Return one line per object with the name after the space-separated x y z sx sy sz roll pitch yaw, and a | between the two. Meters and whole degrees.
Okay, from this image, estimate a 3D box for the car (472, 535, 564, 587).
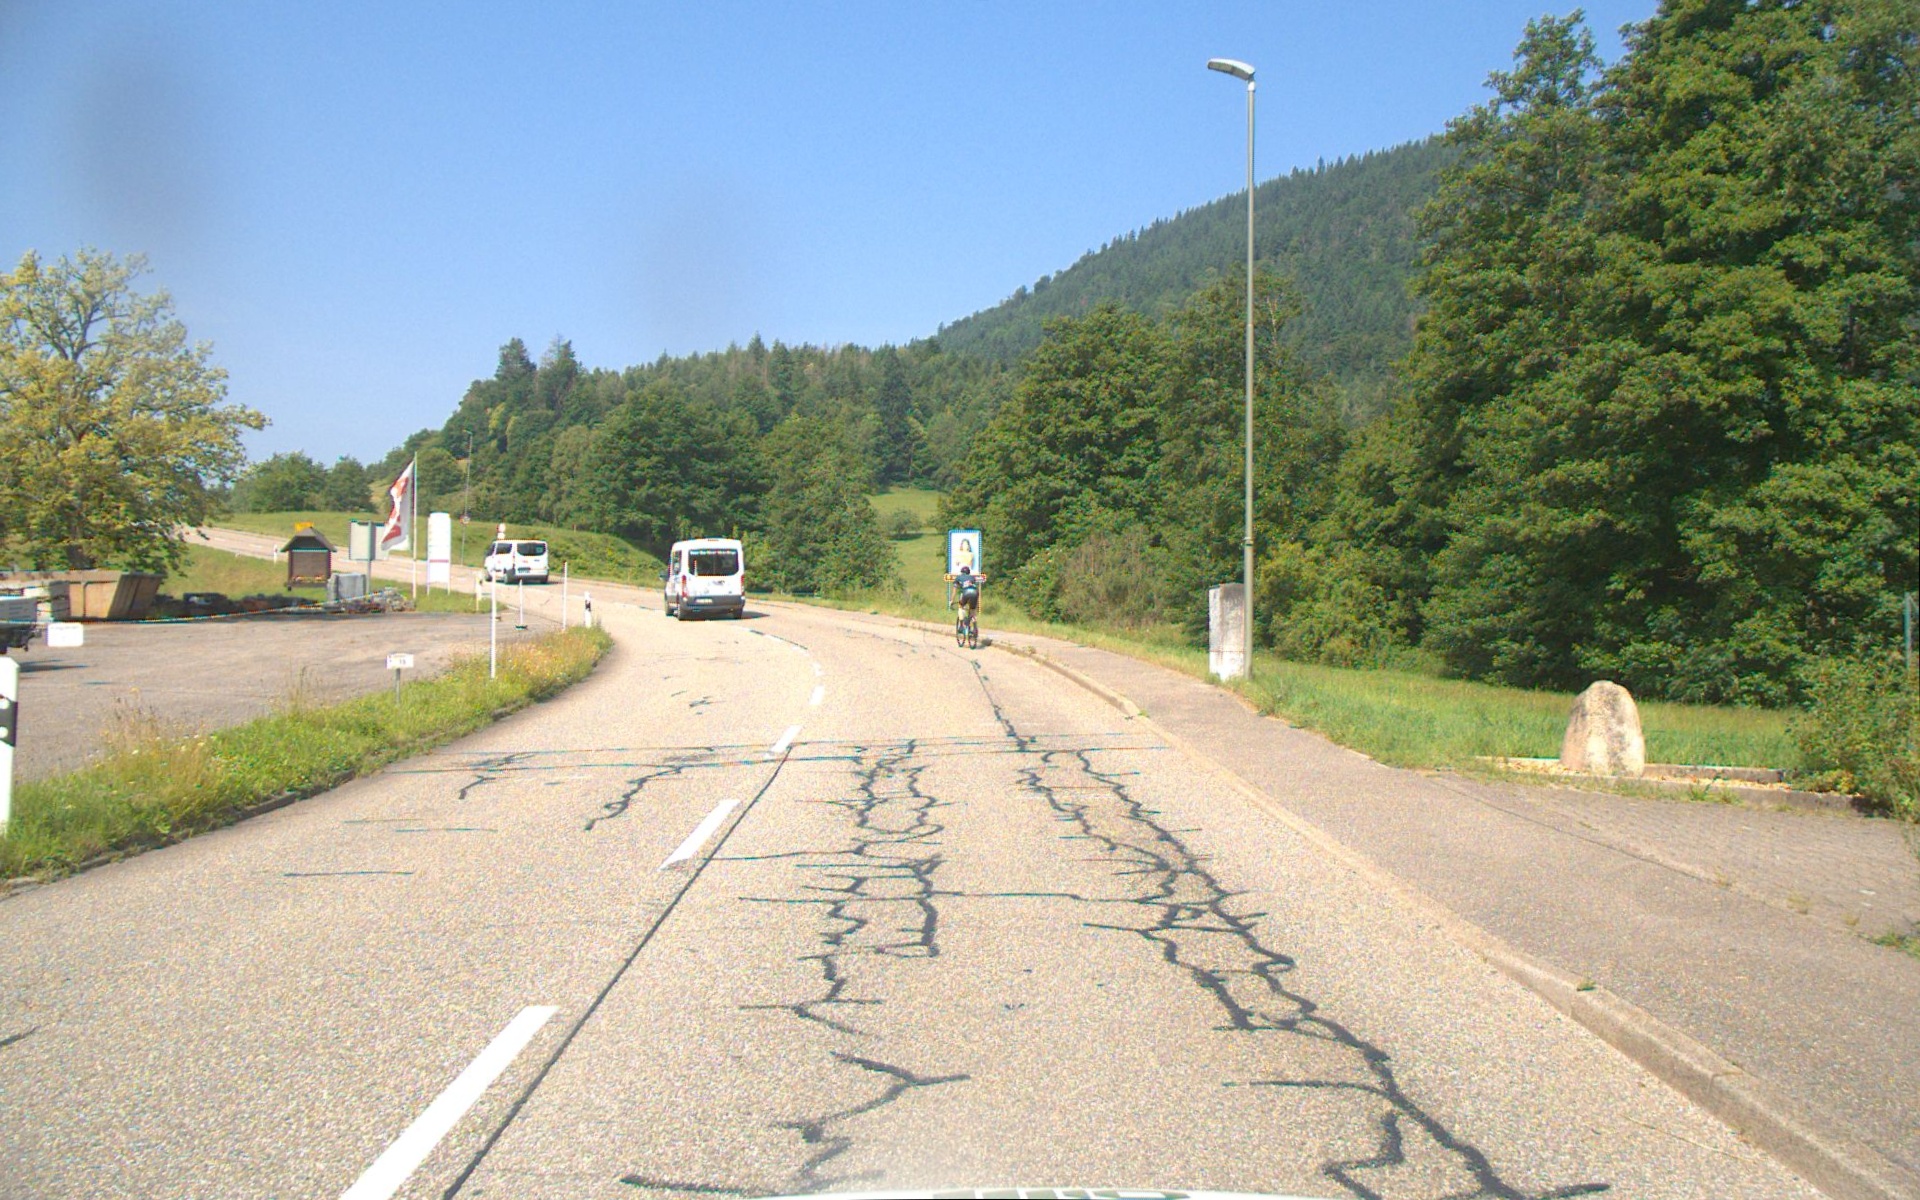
-20.838 -1.849 77.906 2.210 2.326 4.911 -4 4 -41 | car

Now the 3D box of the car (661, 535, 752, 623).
-8.138 -0.737 52.787 2.187 2.569 4.963 -3 3 -16 | car

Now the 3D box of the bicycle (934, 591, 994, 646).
0.075 0.371 34.235 0.571 1.053 1.979 -3 2 -19 | bicycle

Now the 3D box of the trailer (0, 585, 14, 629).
-23.137 0.090 36.099 3.855 0.956 1.866 2 -1 -4 | trailer

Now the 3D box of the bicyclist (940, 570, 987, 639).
0.070 0.081 34.201 0.571 1.365 1.139 -3 2 -20 | bicyclist

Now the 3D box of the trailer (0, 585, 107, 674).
-14.949 0.409 24.742 1.955 1.248 5.539 2 0 -6 | trailer
